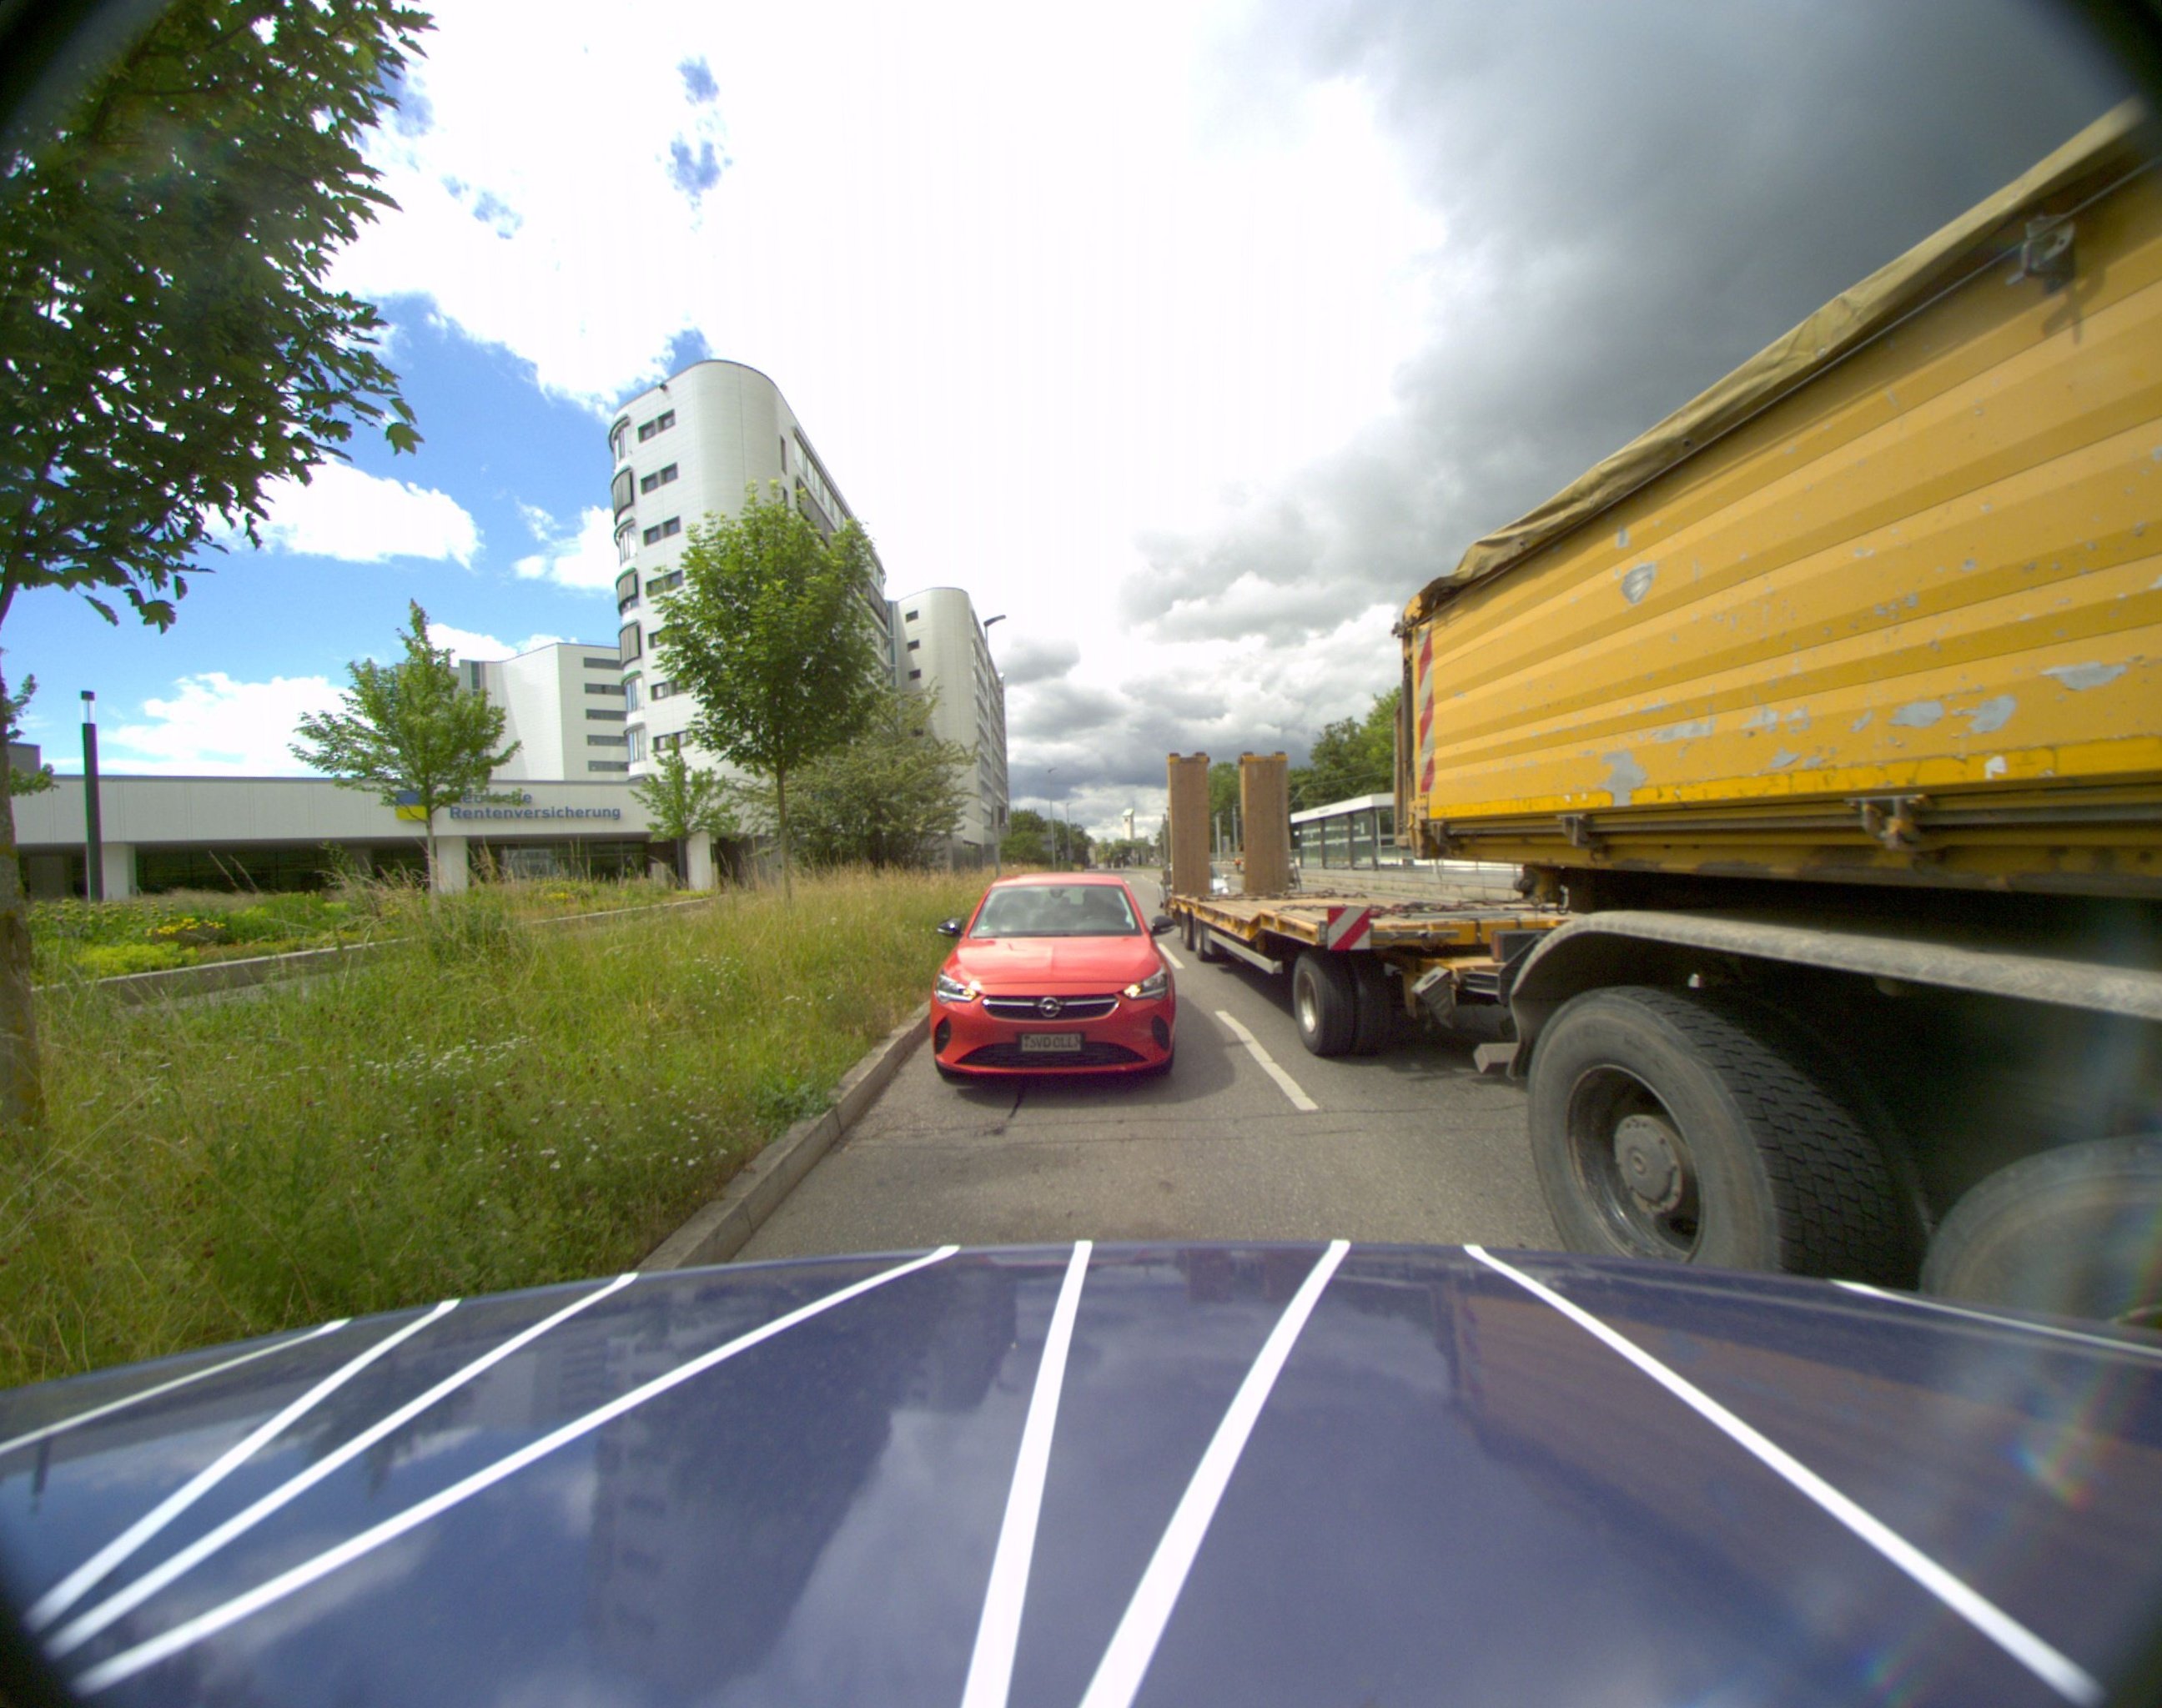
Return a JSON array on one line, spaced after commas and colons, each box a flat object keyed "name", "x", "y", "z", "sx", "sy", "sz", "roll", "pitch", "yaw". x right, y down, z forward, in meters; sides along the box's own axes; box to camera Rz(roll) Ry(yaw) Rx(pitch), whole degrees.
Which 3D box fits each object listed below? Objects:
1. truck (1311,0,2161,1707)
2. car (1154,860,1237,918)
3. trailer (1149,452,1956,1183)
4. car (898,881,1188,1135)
[{"name": "truck", "x": 2.855, "y": -0.051, "z": 0.117, "sx": 3.057, "sy": 3.374, "sz": 8.006, "roll": -2, "pitch": 0, "yaw": 0}, {"name": "car", "x": 3.128, "y": 0.915, "z": 21.397, "sx": 1.784, "sy": 1.408, "sz": 3.785, "roll": -2, "pitch": 0, "yaw": 1}, {"name": "trailer", "x": 2.945, "y": -0.164, "z": 9.418, "sx": 3.057, "sy": 3.676, "sz": 10.965, "roll": -2, "pitch": 0, "yaw": 0}, {"name": "car", "x": -0.198, "y": 1.002, "z": 6.465, "sx": 1.749, "sy": 1.408, "sz": 3.676, "roll": -1, "pitch": 0, "yaw": 1}]
